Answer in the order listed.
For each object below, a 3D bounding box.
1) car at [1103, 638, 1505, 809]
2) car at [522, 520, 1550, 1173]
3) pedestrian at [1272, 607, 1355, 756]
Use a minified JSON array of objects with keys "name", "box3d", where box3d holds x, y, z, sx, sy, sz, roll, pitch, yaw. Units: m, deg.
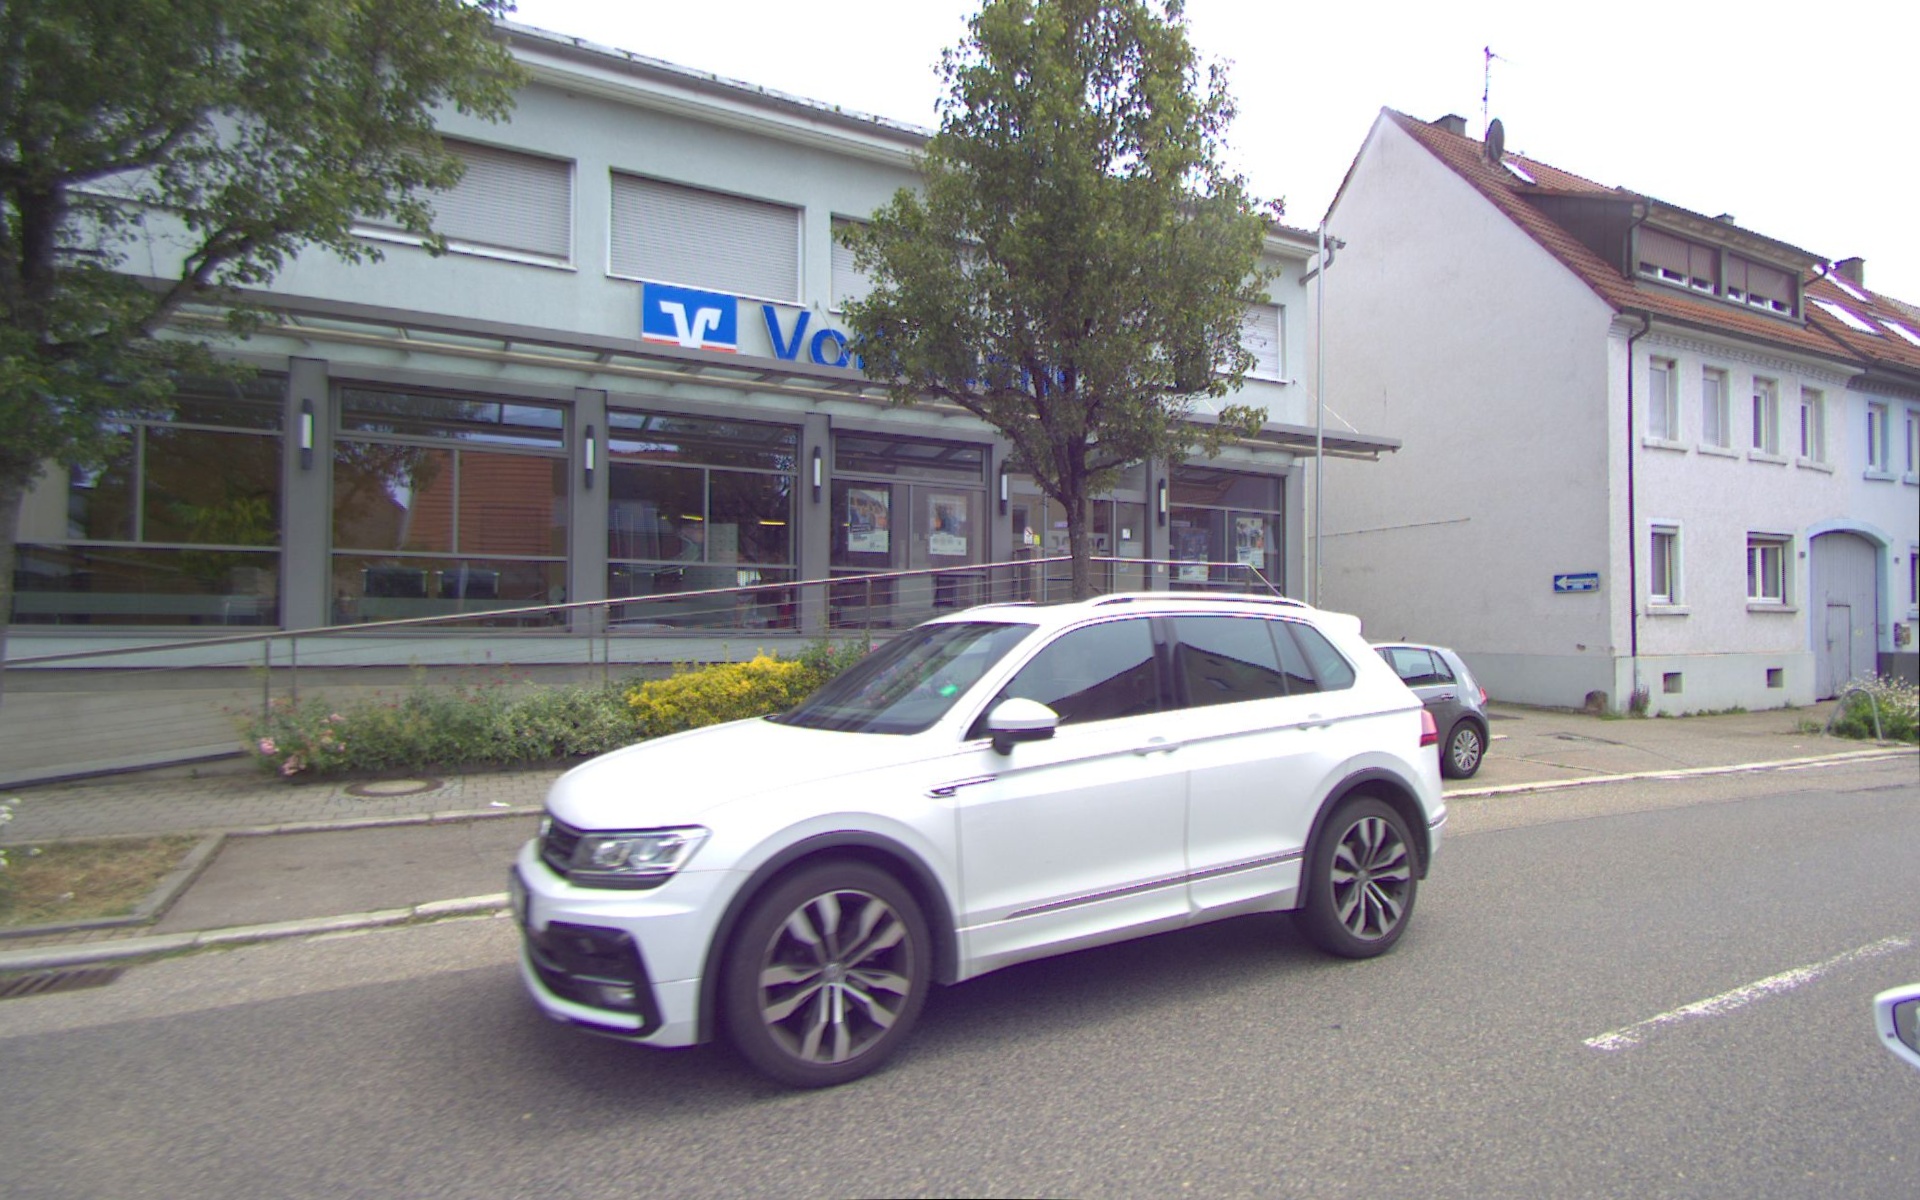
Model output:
[{"name":"car","box3d":[3.692,1.155,10.662,4.108,1.480,1.796,1,-2,-30]},{"name":"car","box3d":[0.499,0.761,4.800,4.596,1.808,1.946,1,-3,-30]},{"name":"pedestrian","box3d":[4.509,1.030,12.838,0.635,1.825,0.735,2,-3,-30]}]
